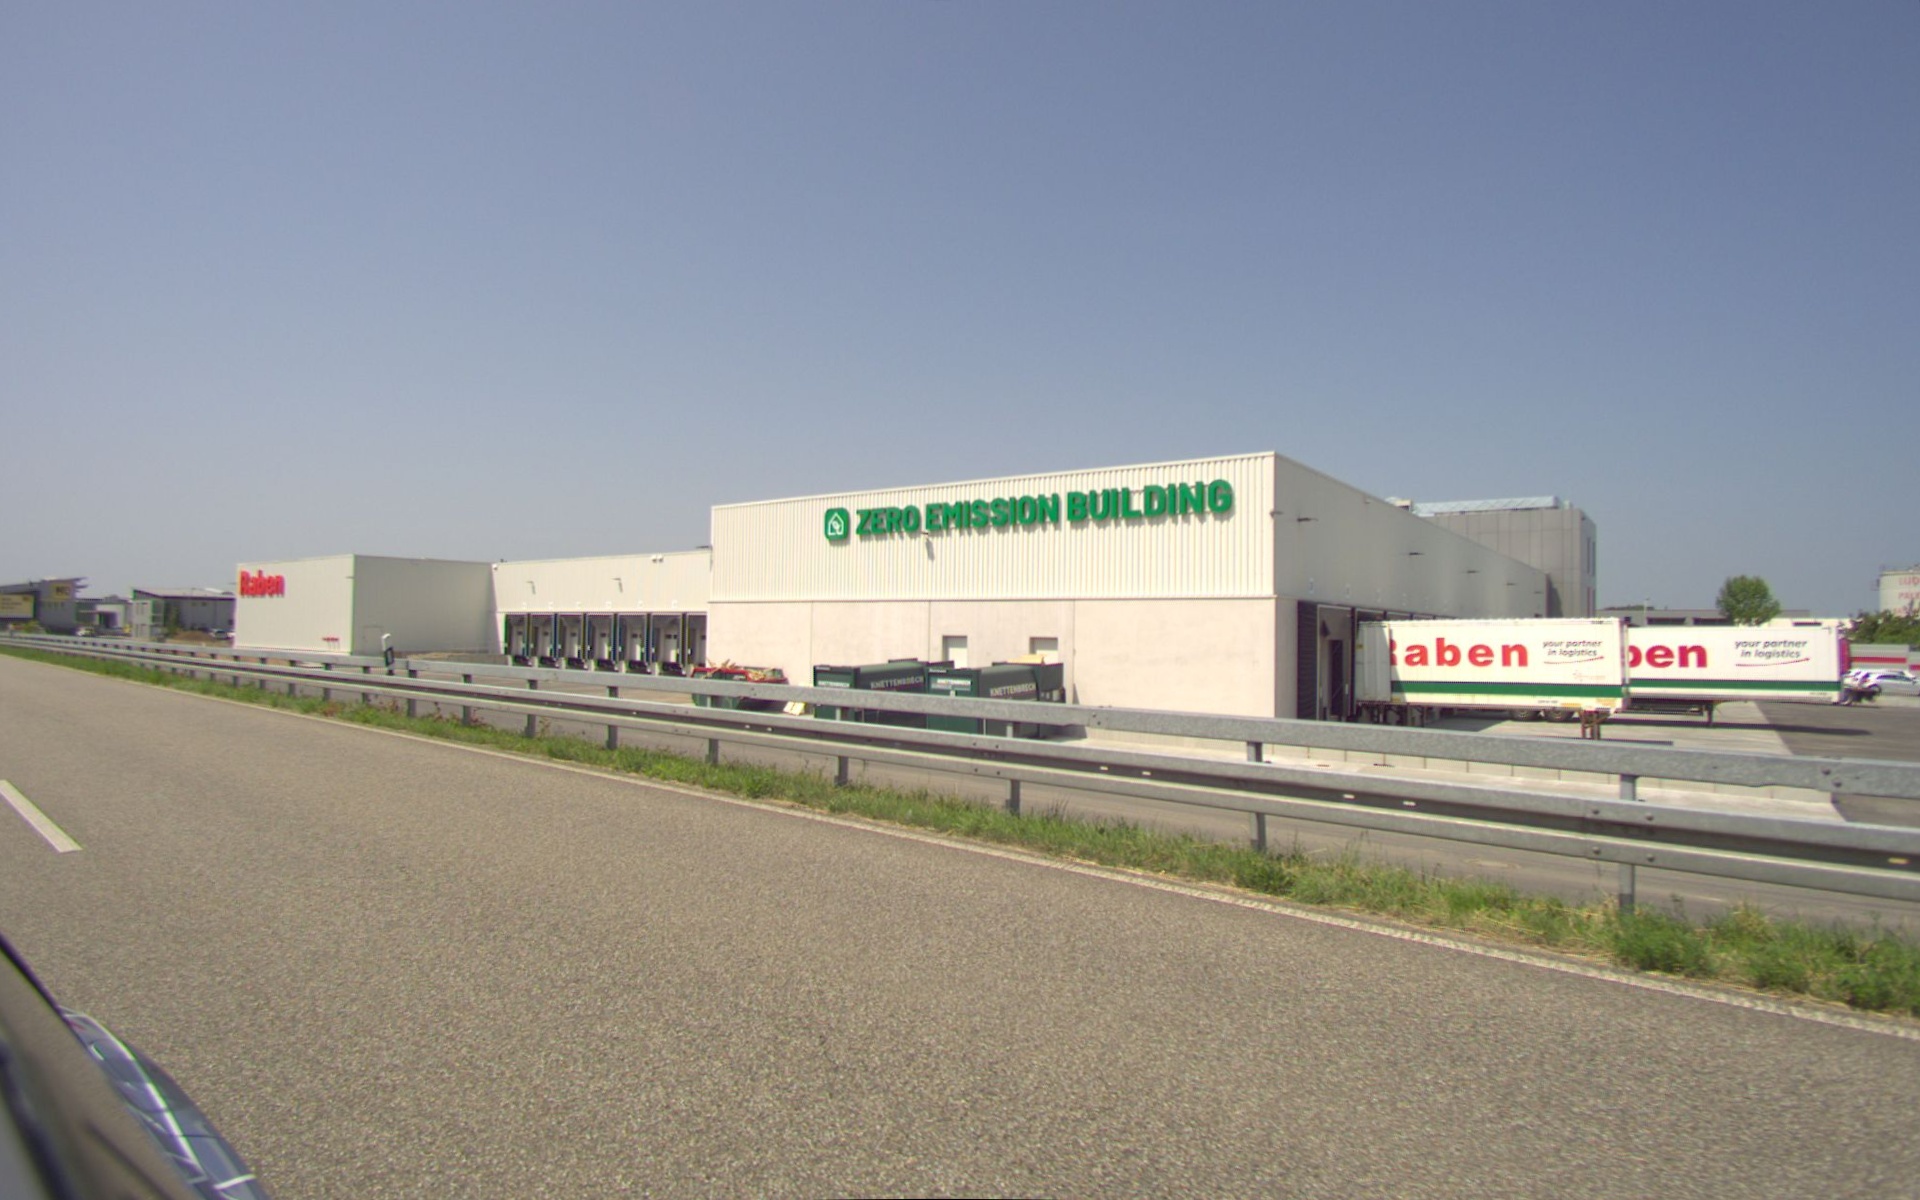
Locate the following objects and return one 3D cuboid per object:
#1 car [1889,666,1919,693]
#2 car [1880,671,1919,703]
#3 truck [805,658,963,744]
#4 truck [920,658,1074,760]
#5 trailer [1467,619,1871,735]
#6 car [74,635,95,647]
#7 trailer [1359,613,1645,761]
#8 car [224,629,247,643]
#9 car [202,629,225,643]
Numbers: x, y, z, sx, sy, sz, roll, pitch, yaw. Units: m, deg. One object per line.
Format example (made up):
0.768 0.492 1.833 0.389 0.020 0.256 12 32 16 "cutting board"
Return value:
62.659 5.157 65.404 3.547 1.739 1.423 -1 -5 31 "car"
57.093 5.137 58.833 5.077 1.823 1.975 -1 -5 37 "car"
-2.348 3.146 32.559 2.231 2.351 4.956 -1 -2 41 "truck"
1.222 3.153 30.576 2.269 2.556 4.999 0 -1 36 "truck"
28.778 2.961 42.208 13.365 4.237 2.638 -1 -3 37 "trailer"
-124.308 5.787 143.718 3.306 1.686 1.536 -1 -3 36 "car"
16.723 2.489 31.524 7.568 4.018 2.638 0 -1 37 "trailer"
-113.129 5.563 157.995 3.997 2.029 1.973 -1 1 40 "car"
-114.926 5.548 155.880 3.997 2.029 1.973 -1 0 40 "car"
